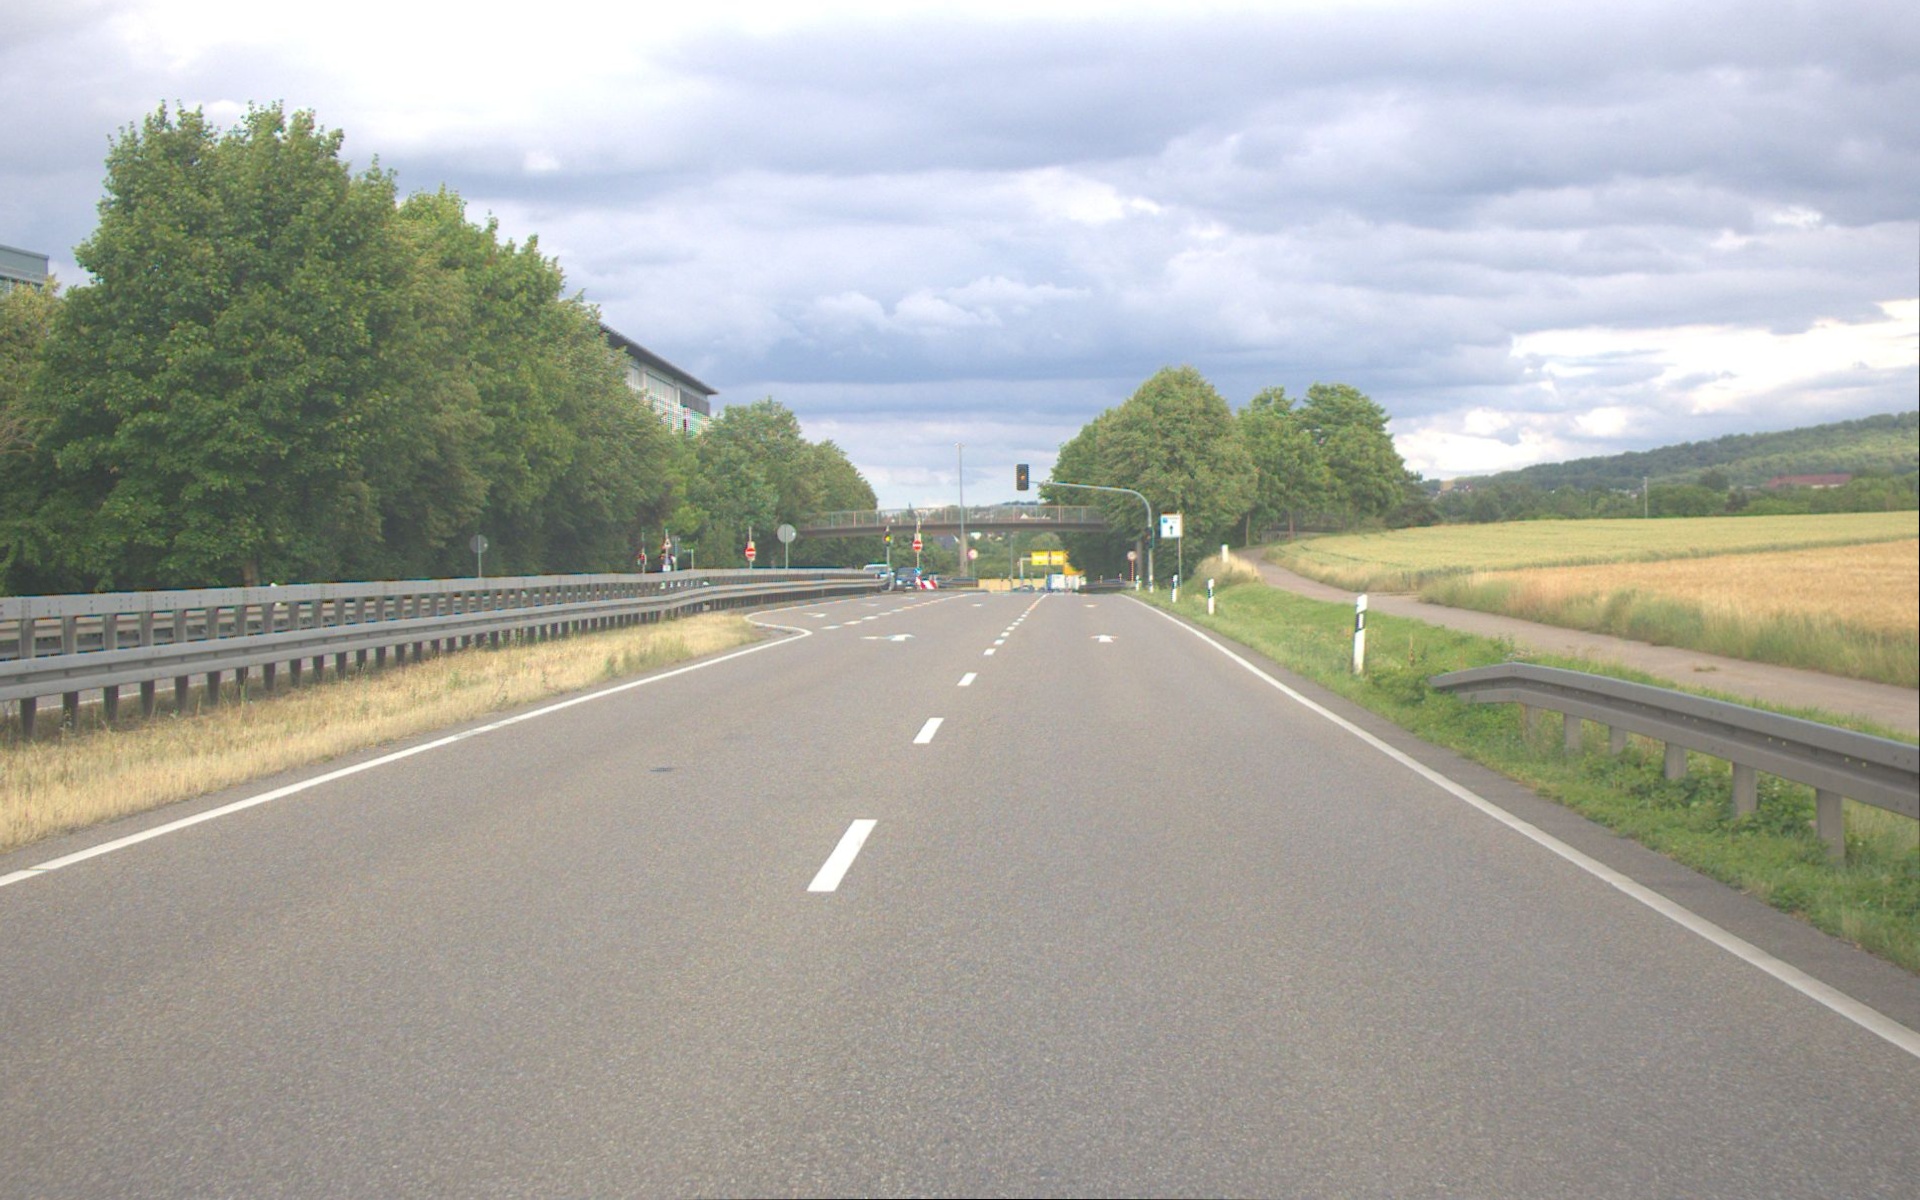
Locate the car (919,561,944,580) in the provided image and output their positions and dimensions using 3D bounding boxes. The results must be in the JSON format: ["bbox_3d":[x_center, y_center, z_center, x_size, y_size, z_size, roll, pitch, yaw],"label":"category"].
[{"bbox_3d":[-1.720,-1.820,210.097,1.358,1.088,2.921,-1,1,3],"label":"car"}]
